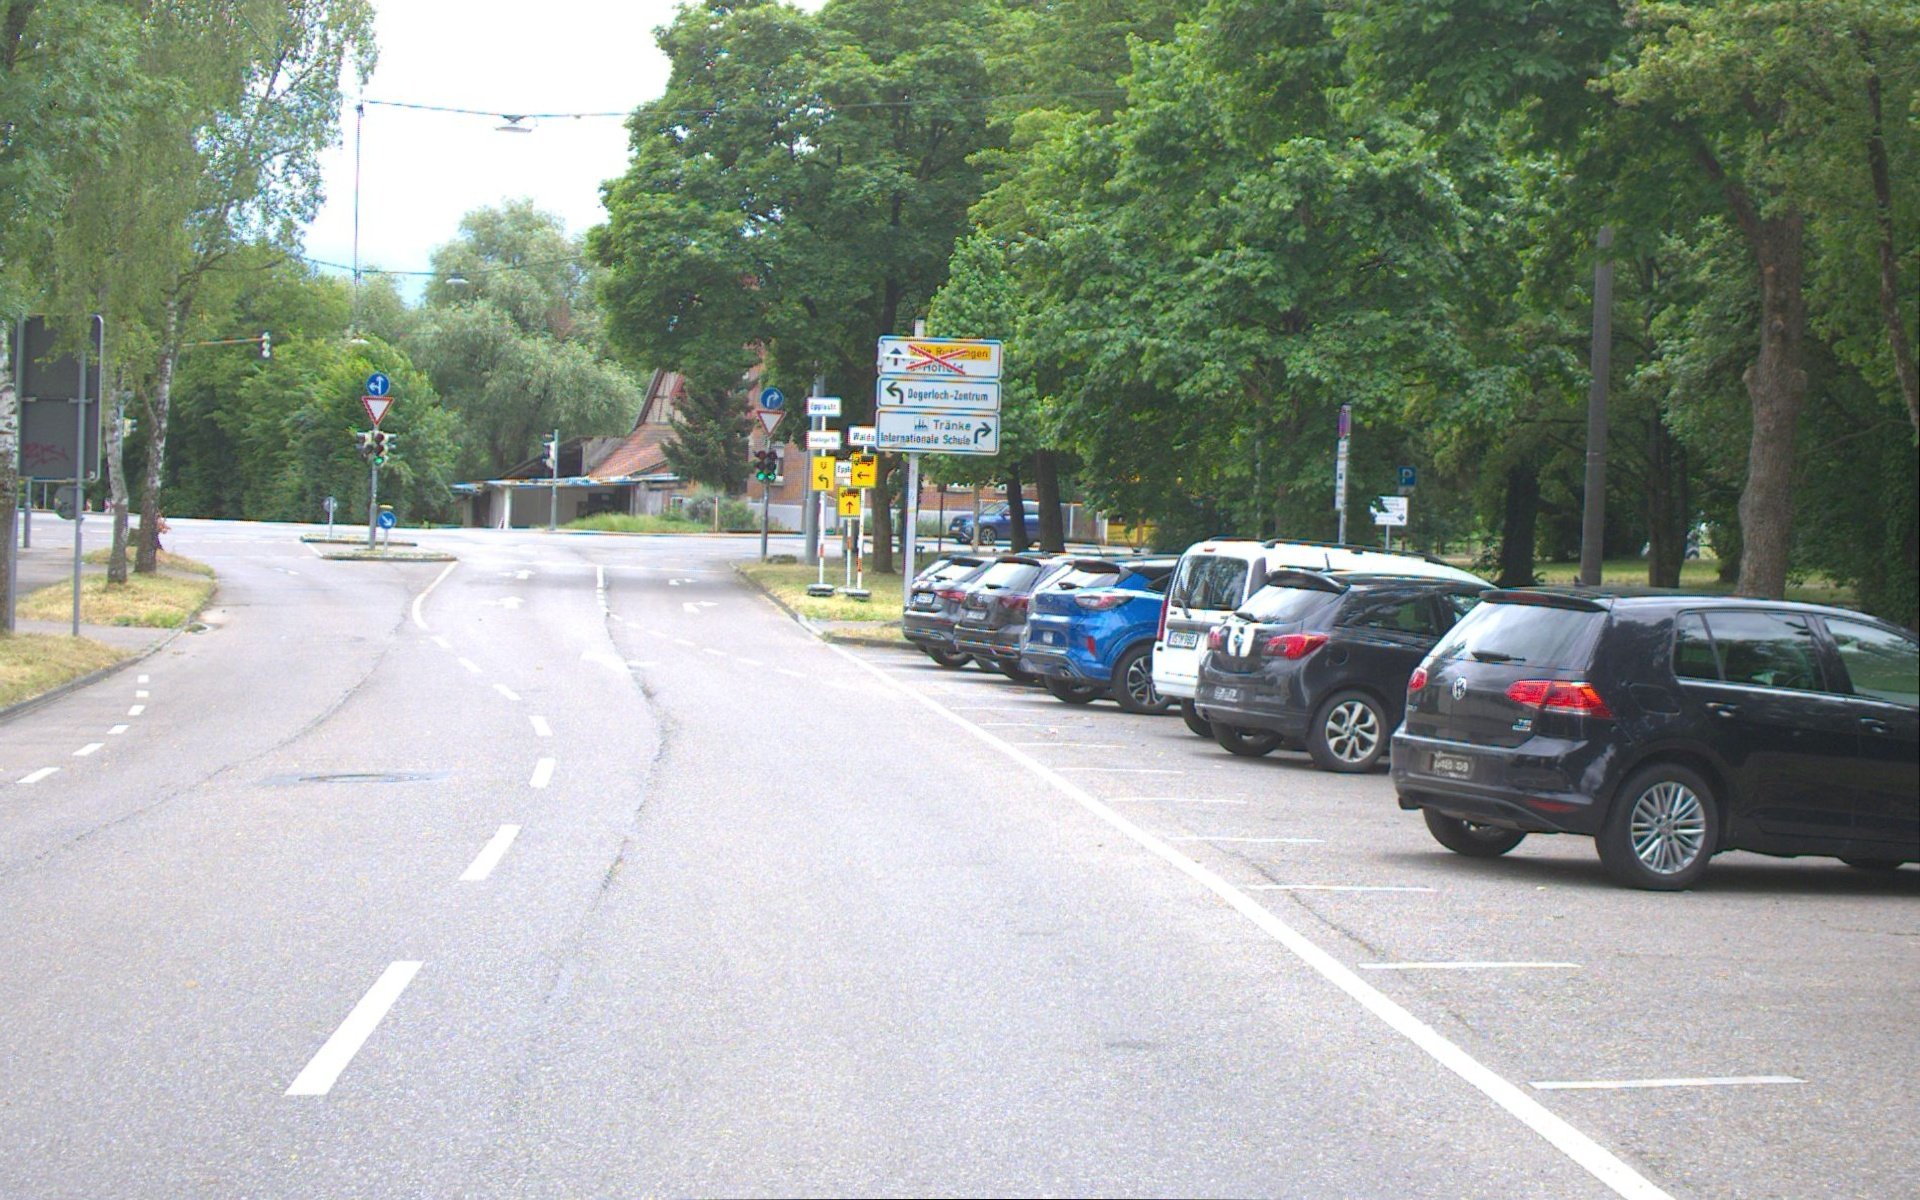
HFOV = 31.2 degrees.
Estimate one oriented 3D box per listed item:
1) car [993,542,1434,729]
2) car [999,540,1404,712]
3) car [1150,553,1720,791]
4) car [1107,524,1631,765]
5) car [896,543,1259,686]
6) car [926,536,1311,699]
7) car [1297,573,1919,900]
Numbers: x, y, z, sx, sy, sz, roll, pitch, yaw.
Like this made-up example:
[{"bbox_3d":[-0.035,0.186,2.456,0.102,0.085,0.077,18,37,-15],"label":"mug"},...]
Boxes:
[{"bbox_3d":[2.468,0.343,33.472,3.818,1.523,1.747,4,0,-24],"label":"car"},{"bbox_3d":[2.555,0.274,36.416,3.818,1.523,1.747,4,0,-24],"label":"car"},{"bbox_3d":[3.589,0.546,25.972,3.818,1.463,1.747,4,1,-24],"label":"car"},{"bbox_3d":[3.413,0.370,28.756,3.818,1.714,1.879,4,0,-24],"label":"car"},{"bbox_3d":[1.412,0.172,41.427,3.872,1.421,1.830,4,0,-24],"label":"car"},{"bbox_3d":[1.766,0.200,38.351,3.818,1.523,1.747,4,0,-24],"label":"car"},{"bbox_3d":[4.031,0.722,17.722,3.986,1.409,2.058,4,0,-24],"label":"car"}]
